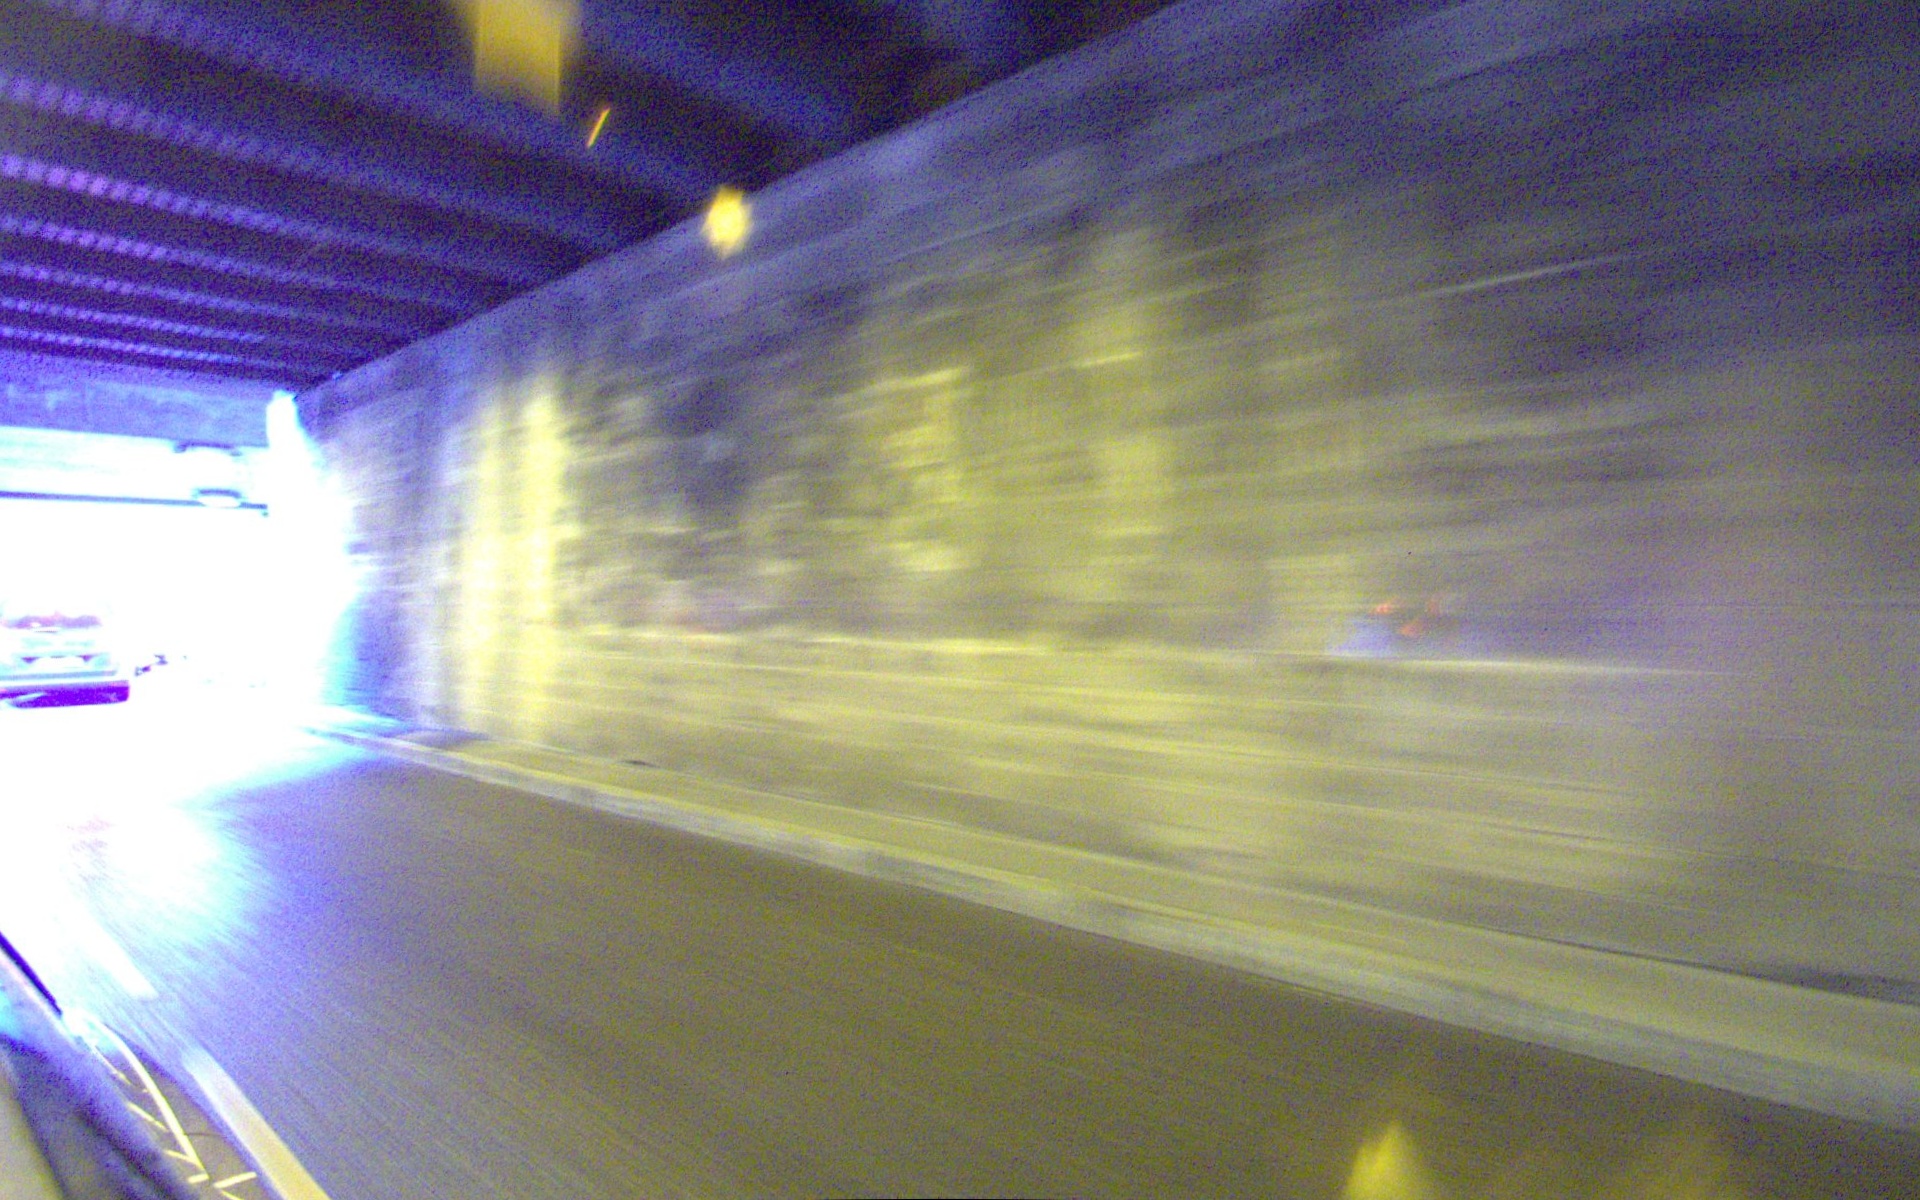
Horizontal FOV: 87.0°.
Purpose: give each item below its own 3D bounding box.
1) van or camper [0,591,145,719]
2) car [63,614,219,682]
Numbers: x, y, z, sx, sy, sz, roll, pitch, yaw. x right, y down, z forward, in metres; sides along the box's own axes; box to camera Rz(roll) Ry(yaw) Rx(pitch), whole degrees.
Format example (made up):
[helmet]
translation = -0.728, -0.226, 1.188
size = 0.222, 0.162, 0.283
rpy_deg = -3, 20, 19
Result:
[van or camper]
translation = -15.424, 0.813, 17.161
size = 1.970, 1.882, 5.142
rpy_deg = 1, -1, -45
[car]
translation = -23.001, 1.272, 28.651
size = 1.966, 1.541, 4.514
rpy_deg = -5, 2, -20
